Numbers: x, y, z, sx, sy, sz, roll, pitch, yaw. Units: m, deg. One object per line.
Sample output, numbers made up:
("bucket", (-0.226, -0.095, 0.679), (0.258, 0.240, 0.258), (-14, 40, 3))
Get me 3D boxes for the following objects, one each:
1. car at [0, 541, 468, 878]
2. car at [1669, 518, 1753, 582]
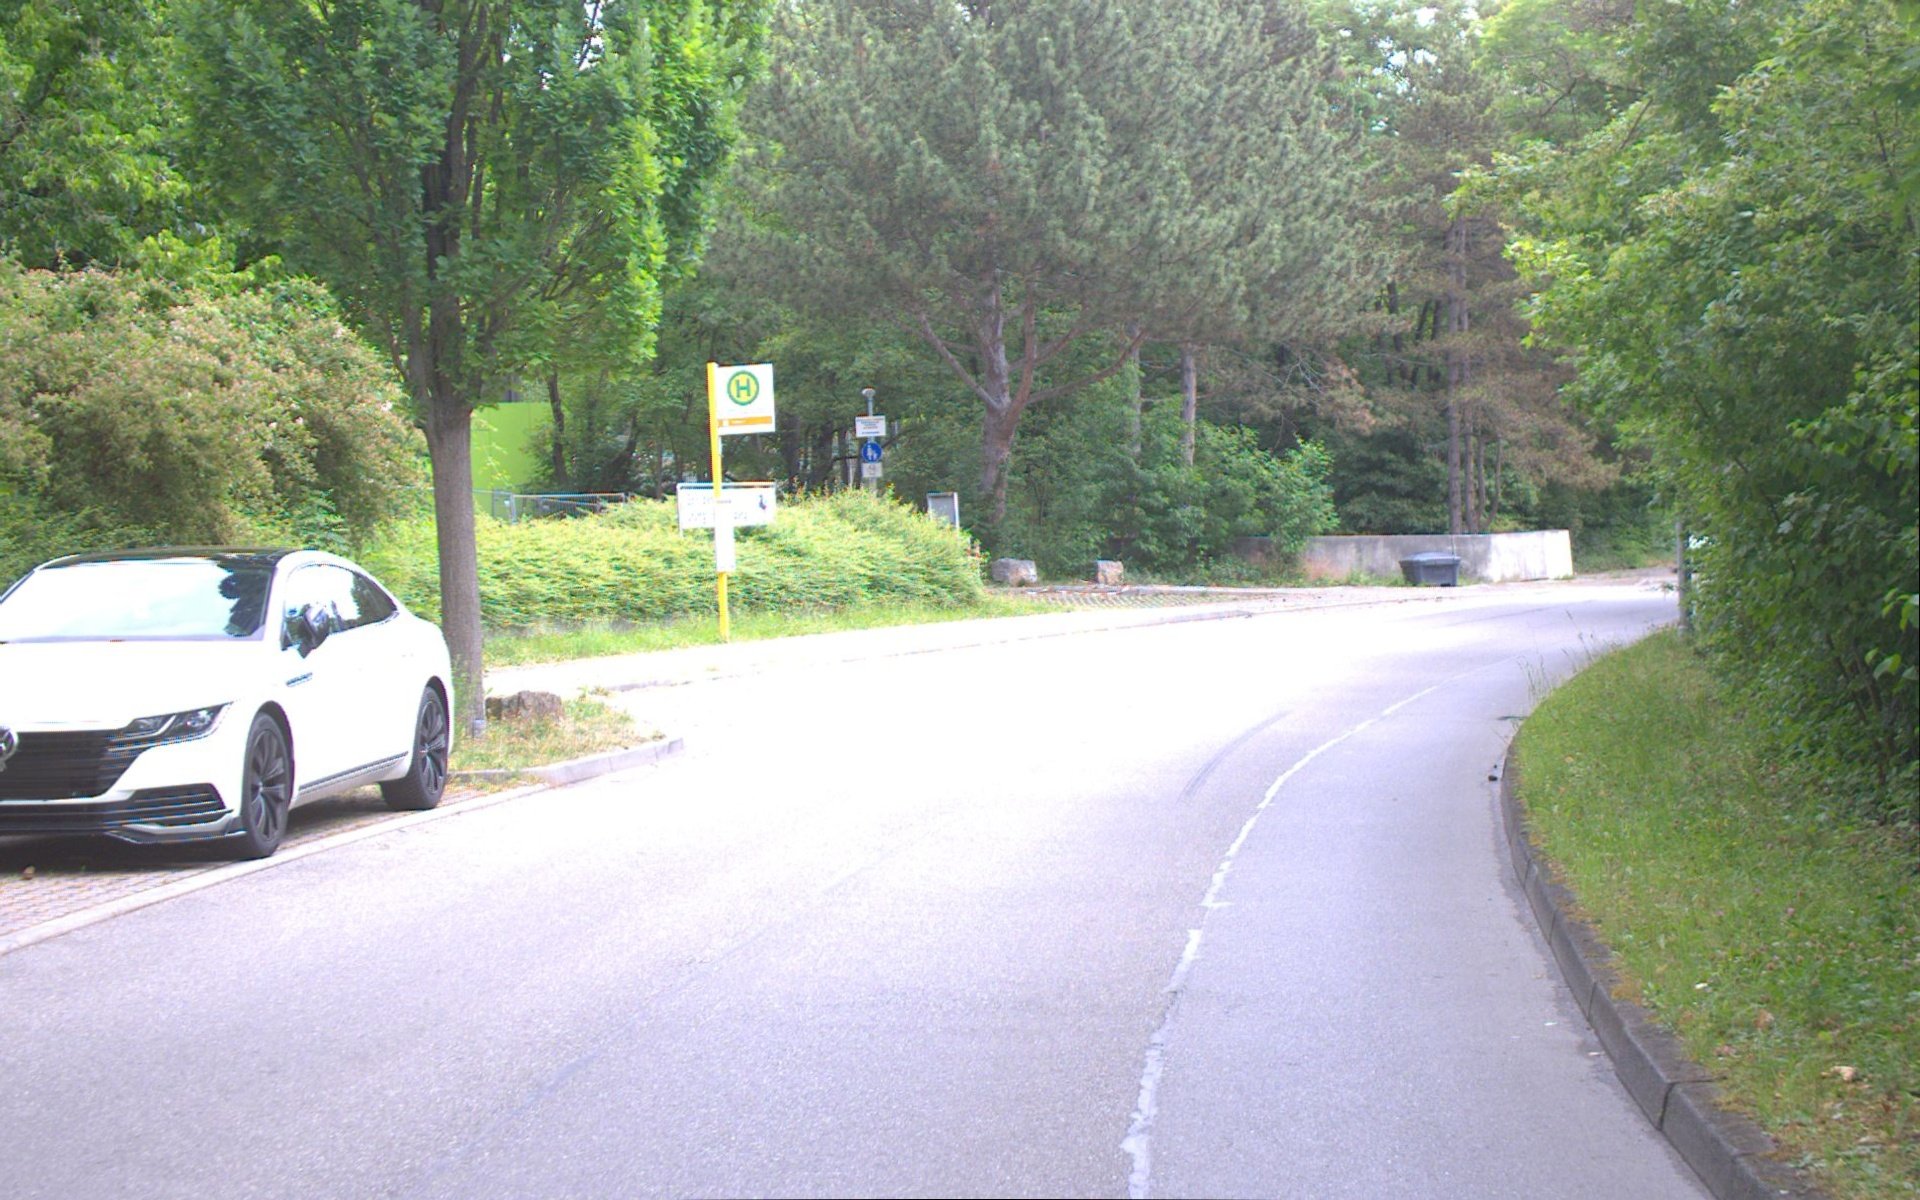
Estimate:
("car", (-3.842, 0.431, 16.841), (1.814, 1.419, 4.360), (0, 1, 6))
("car", (20.078, -1.349, 91.822), (1.720, 1.544, 3.720), (-2, 2, 19))
